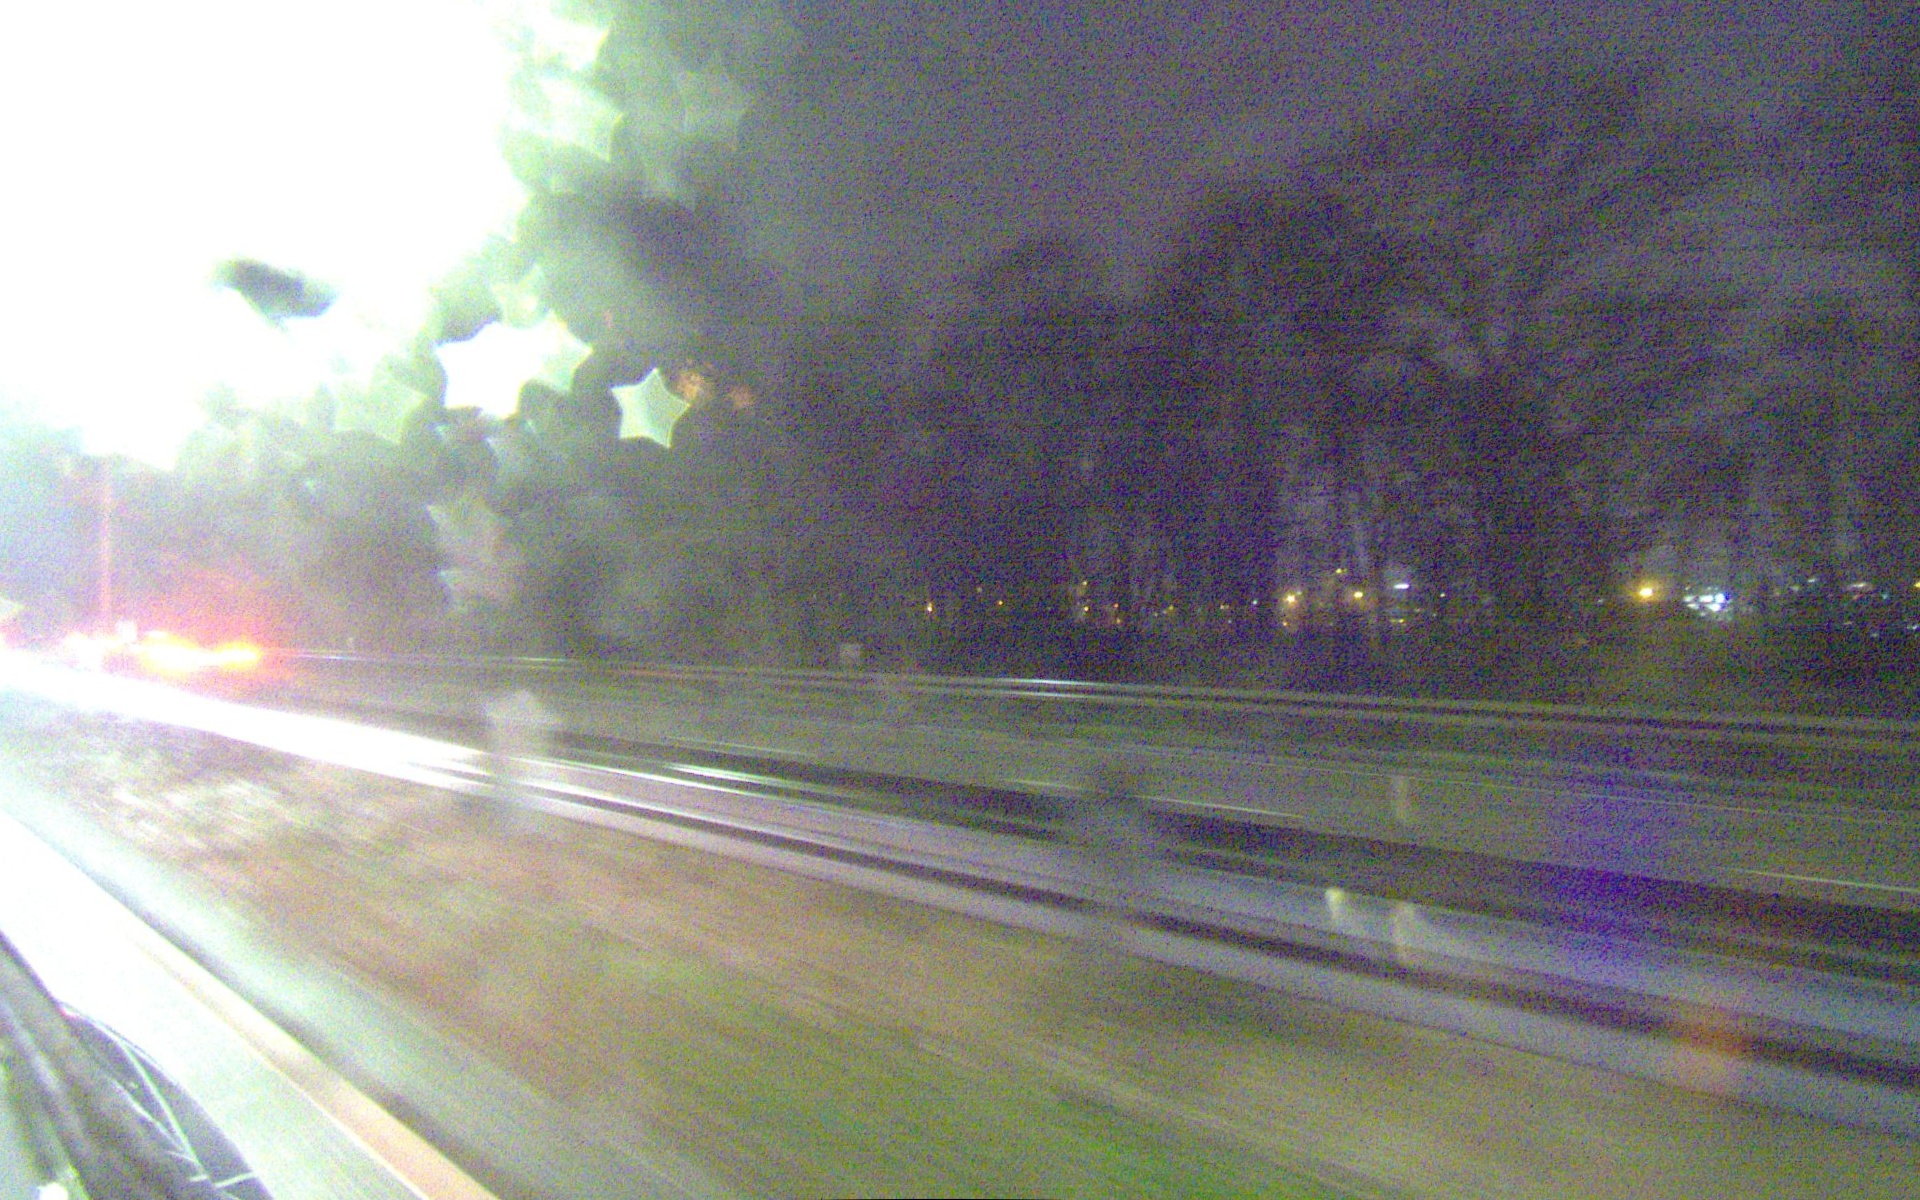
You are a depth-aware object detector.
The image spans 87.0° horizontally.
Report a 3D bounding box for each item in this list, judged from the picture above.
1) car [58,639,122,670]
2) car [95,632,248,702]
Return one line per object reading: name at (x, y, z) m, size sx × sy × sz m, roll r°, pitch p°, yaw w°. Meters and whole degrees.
car at (-40.626, 2.551, 47.251) m, size 4.161 × 1.392 × 1.594 m, roll -2°, pitch -4°, yaw 40°
car at (-18.579, 1.508, 23.758) m, size 4.774 × 1.487 × 1.837 m, roll -2°, pitch -2°, yaw 40°
